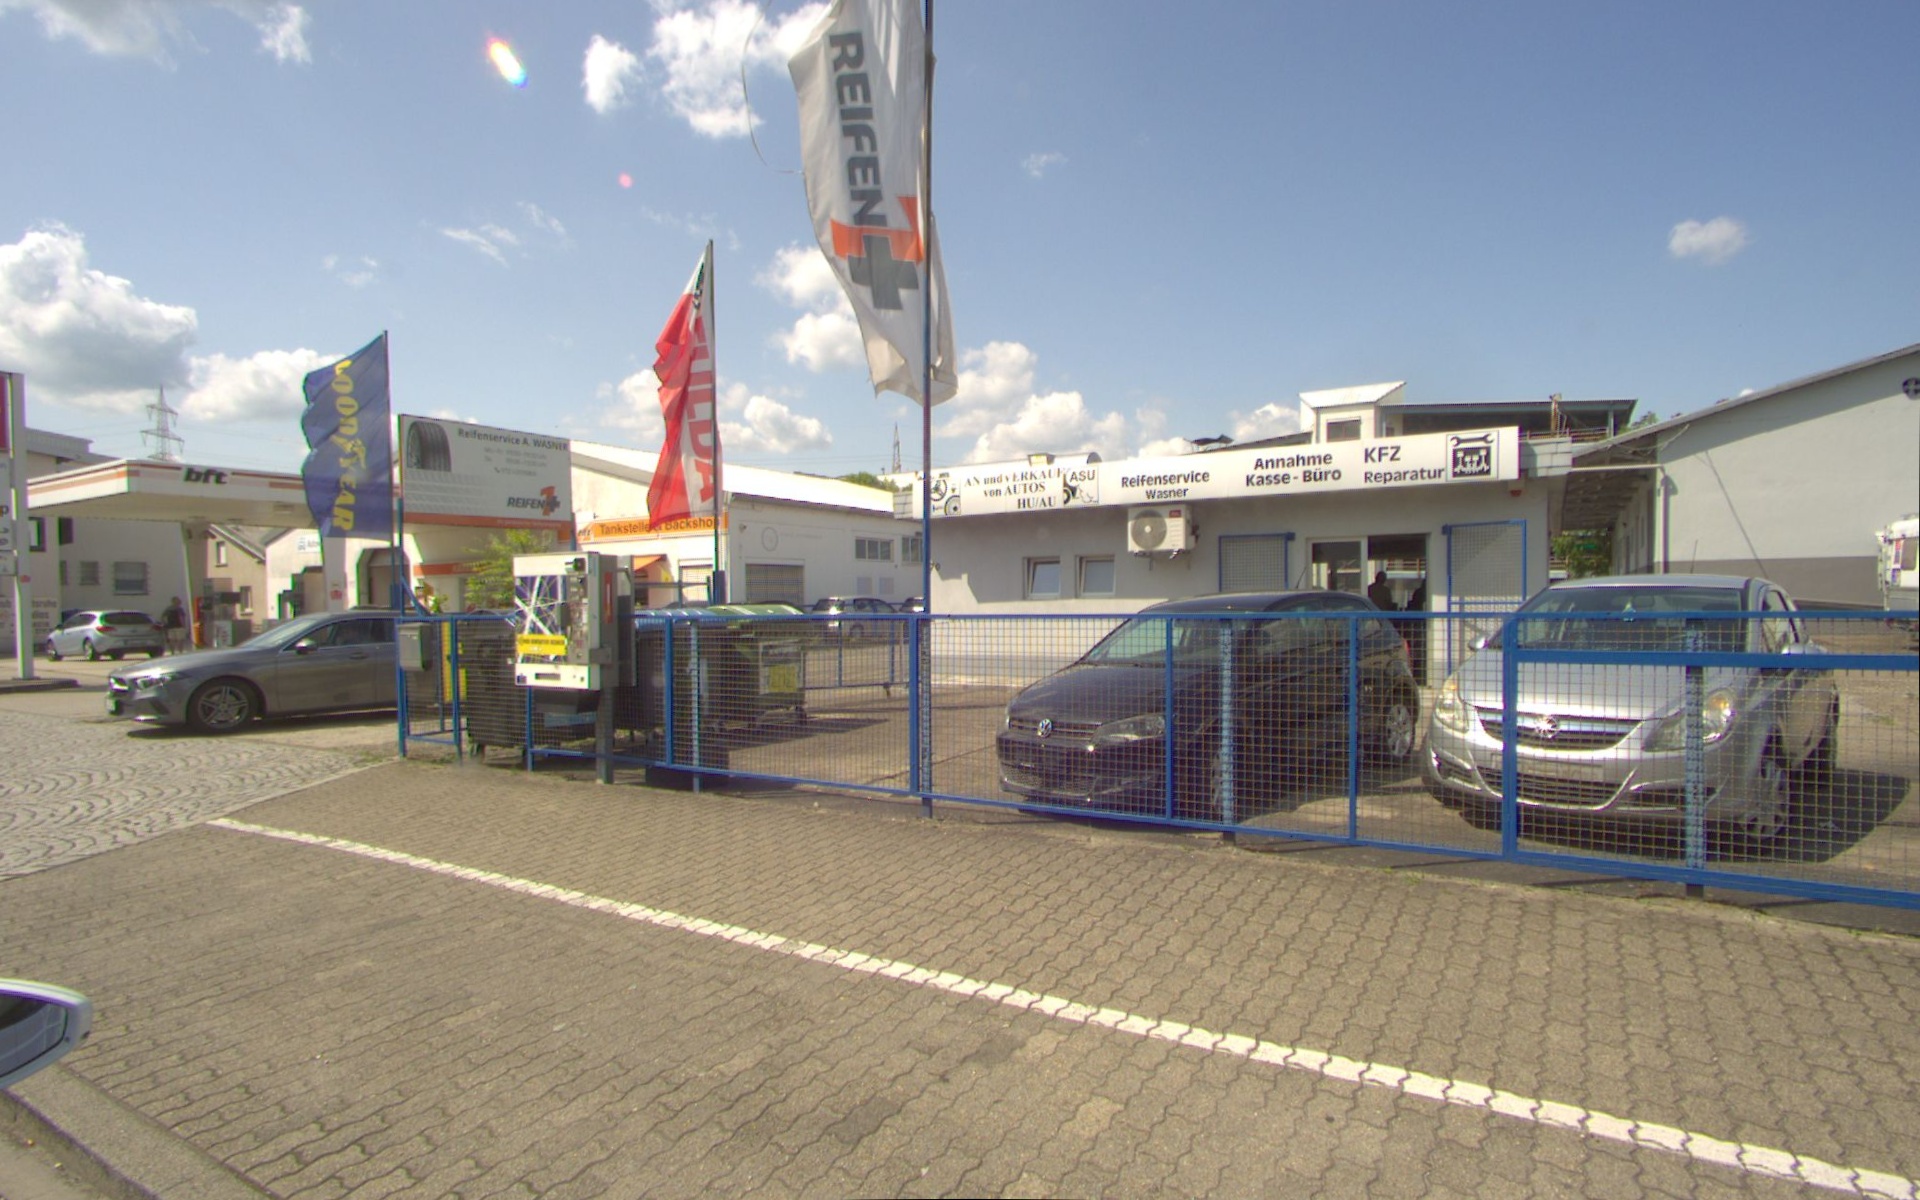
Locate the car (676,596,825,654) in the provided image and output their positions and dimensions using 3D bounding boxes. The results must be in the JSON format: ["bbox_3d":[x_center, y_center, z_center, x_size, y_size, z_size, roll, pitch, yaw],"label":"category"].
[{"bbox_3d":[-5.724,0.639,27.825,1.564,1.482,4.187,0,0,33],"label":"car"}]

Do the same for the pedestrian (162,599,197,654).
[{"bbox_3d":[-23.781,0.799,30.523,0.698,1.679,0.546,-1,1,-22],"label":"pedestrian"}]

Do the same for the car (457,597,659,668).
[{"bbox_3d":[-9.171,0.686,23.170,1.564,1.482,4.187,0,0,33],"label":"car"}]

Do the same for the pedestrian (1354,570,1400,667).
[{"bbox_3d":[7.346,0.315,17.651,0.654,1.671,0.563,0,1,34],"label":"pedestrian"}]

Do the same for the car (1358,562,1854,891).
[{"bbox_3d":[4.265,0.557,6.386,3.729,1.472,1.757,-1,0,-42],"label":"car"}]

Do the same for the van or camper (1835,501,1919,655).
[{"bbox_3d":[21.009,-0.458,19.533,5.571,3.005,2.264,0,1,31],"label":"van or camper"}]

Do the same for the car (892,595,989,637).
[{"bbox_3d":[-0.644,0.531,35.742,1.564,1.385,3.860,0,0,33],"label":"car"}]

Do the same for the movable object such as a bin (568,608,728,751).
[{"bbox_3d":[-3.334,0.799,10.744,1.225,1.415,1.106,0,1,31],"label":"movable object such as a bin"}]

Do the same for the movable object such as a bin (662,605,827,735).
[{"bbox_3d":[-2.540,0.779,11.908,1.318,1.414,1.400,0,1,31],"label":"movable object such as a bin"}]

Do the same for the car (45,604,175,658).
[{"bbox_3d":[-25.742,0.899,30.314,3.776,1.523,1.803,-1,0,30],"label":"car"}]

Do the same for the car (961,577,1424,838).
[{"bbox_3d":[1.893,0.598,7.486,3.655,1.472,1.625,-1,0,-43],"label":"car"}]

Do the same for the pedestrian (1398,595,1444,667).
[{"bbox_3d":[8.040,0.529,17.444,0.654,1.225,0.563,0,1,34],"label":"pedestrian"}]

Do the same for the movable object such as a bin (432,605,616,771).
[{"bbox_3d":[-4.166,0.782,9.613,1.225,1.455,1.106,0,1,31],"label":"movable object such as a bin"}]

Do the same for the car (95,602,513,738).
[{"bbox_3d":[-8.292,0.764,13.014,1.654,1.434,4.253,0,0,40],"label":"car"}]

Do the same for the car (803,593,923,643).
[{"bbox_3d":[-3.020,0.524,32.056,1.564,1.482,4.187,0,0,33],"label":"car"}]

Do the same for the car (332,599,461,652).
[{"bbox_3d":[-17.315,0.746,30.731,3.777,1.523,1.803,-1,0,31],"label":"car"}]
